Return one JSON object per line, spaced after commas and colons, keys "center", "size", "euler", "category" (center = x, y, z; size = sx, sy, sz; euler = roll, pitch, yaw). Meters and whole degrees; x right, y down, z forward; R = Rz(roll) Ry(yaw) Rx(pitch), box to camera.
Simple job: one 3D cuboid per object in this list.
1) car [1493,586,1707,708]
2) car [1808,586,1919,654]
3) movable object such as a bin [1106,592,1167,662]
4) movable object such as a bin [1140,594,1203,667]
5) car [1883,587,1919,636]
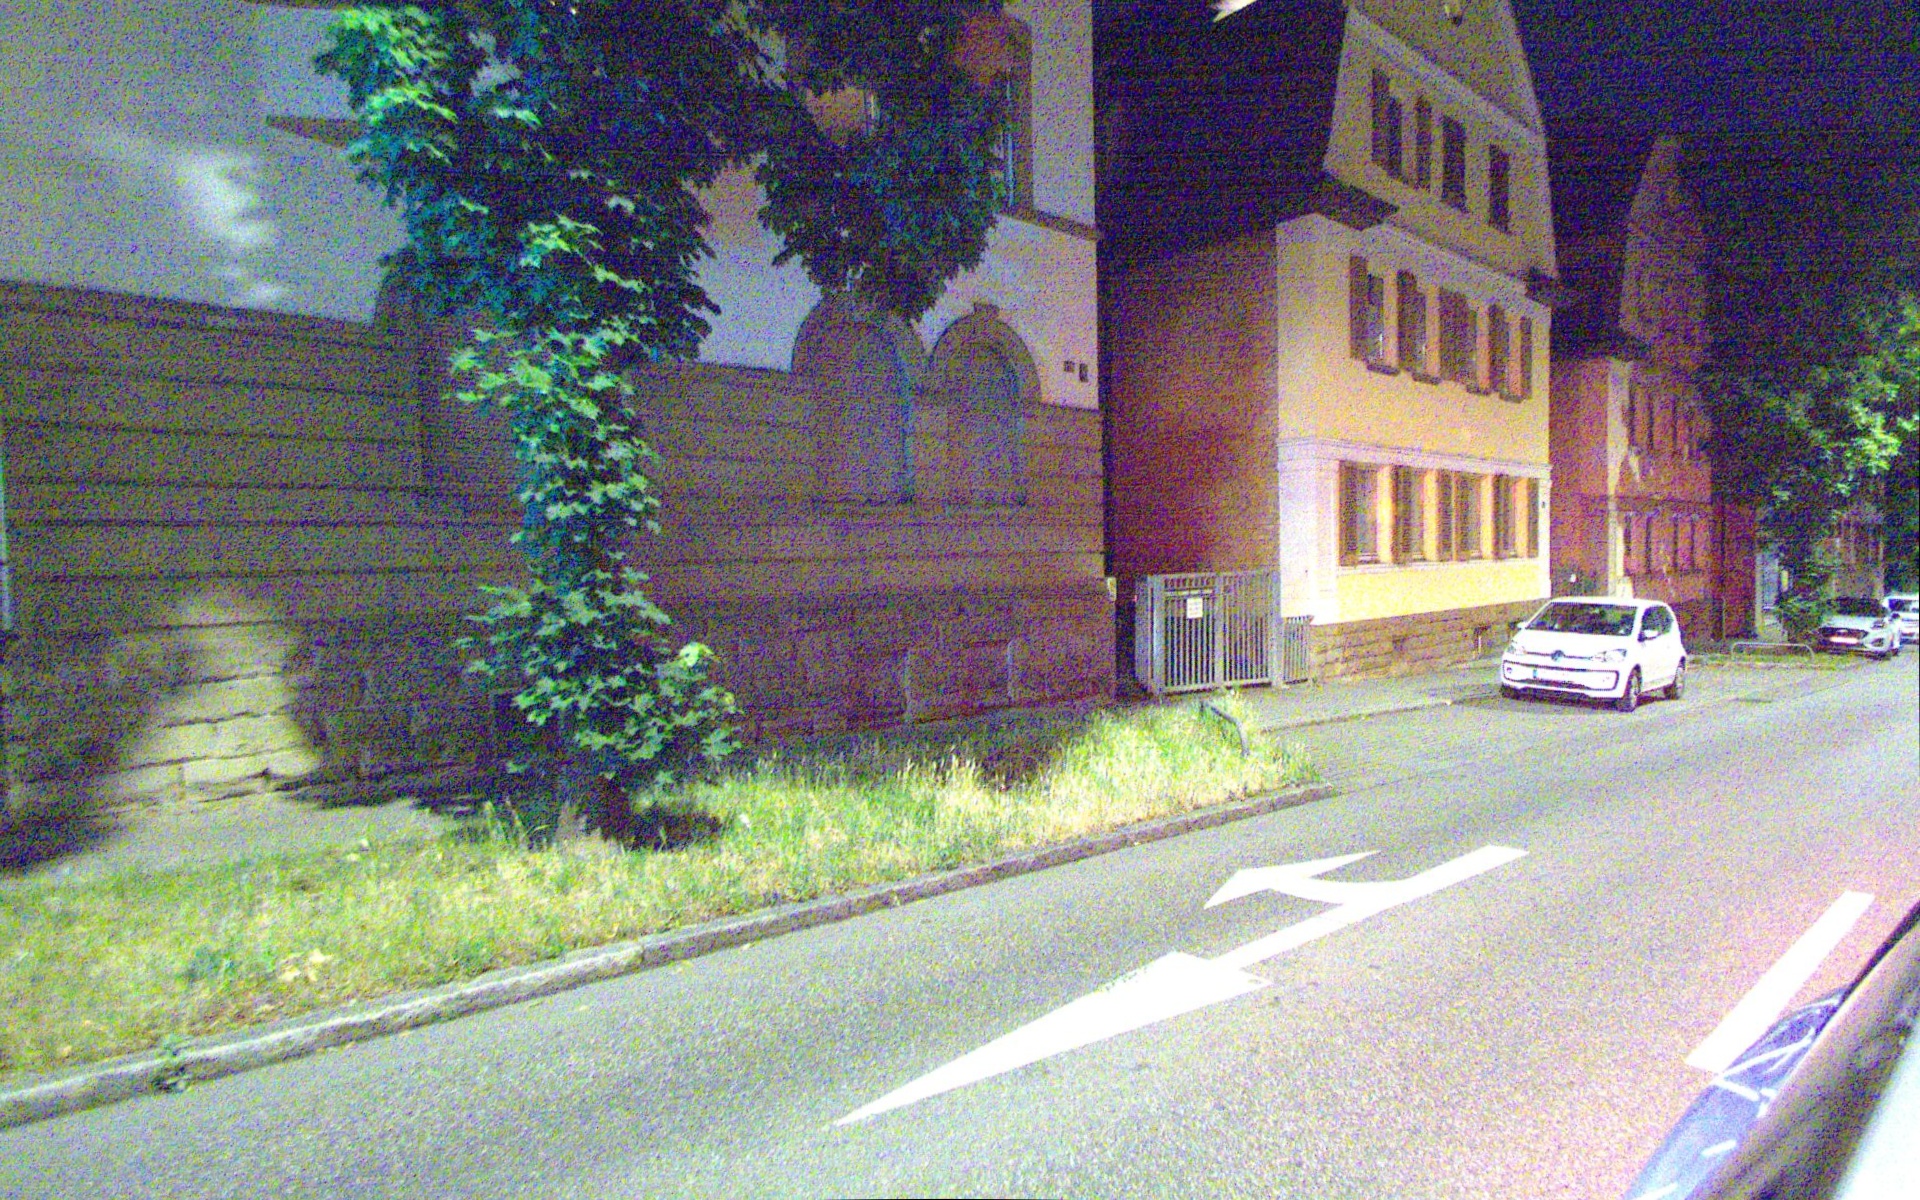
{"center": [9.327, 0.581, 14.659], "size": [3.541, 1.503, 1.671], "euler": [0, 2, -42], "category": "car"}
{"center": [23.810, 0.474, 26.580], "size": [3.977, 1.572, 1.862], "euler": [0, 3, -43], "category": "car"}
{"center": [2.752, 0.402, 15.773], "size": [0.742, 1.062, 0.608], "euler": [0, 0, -41], "category": "movable object such as a bin"}
{"center": [3.180, 0.438, 15.246], "size": [0.742, 1.062, 0.608], "euler": [0, 0, -41], "category": "movable object such as a bin"}
{"center": [33.793, 0.394, 35.349], "size": [4.281, 1.616, 1.742], "euler": [0, 3, -40], "category": "car"}
